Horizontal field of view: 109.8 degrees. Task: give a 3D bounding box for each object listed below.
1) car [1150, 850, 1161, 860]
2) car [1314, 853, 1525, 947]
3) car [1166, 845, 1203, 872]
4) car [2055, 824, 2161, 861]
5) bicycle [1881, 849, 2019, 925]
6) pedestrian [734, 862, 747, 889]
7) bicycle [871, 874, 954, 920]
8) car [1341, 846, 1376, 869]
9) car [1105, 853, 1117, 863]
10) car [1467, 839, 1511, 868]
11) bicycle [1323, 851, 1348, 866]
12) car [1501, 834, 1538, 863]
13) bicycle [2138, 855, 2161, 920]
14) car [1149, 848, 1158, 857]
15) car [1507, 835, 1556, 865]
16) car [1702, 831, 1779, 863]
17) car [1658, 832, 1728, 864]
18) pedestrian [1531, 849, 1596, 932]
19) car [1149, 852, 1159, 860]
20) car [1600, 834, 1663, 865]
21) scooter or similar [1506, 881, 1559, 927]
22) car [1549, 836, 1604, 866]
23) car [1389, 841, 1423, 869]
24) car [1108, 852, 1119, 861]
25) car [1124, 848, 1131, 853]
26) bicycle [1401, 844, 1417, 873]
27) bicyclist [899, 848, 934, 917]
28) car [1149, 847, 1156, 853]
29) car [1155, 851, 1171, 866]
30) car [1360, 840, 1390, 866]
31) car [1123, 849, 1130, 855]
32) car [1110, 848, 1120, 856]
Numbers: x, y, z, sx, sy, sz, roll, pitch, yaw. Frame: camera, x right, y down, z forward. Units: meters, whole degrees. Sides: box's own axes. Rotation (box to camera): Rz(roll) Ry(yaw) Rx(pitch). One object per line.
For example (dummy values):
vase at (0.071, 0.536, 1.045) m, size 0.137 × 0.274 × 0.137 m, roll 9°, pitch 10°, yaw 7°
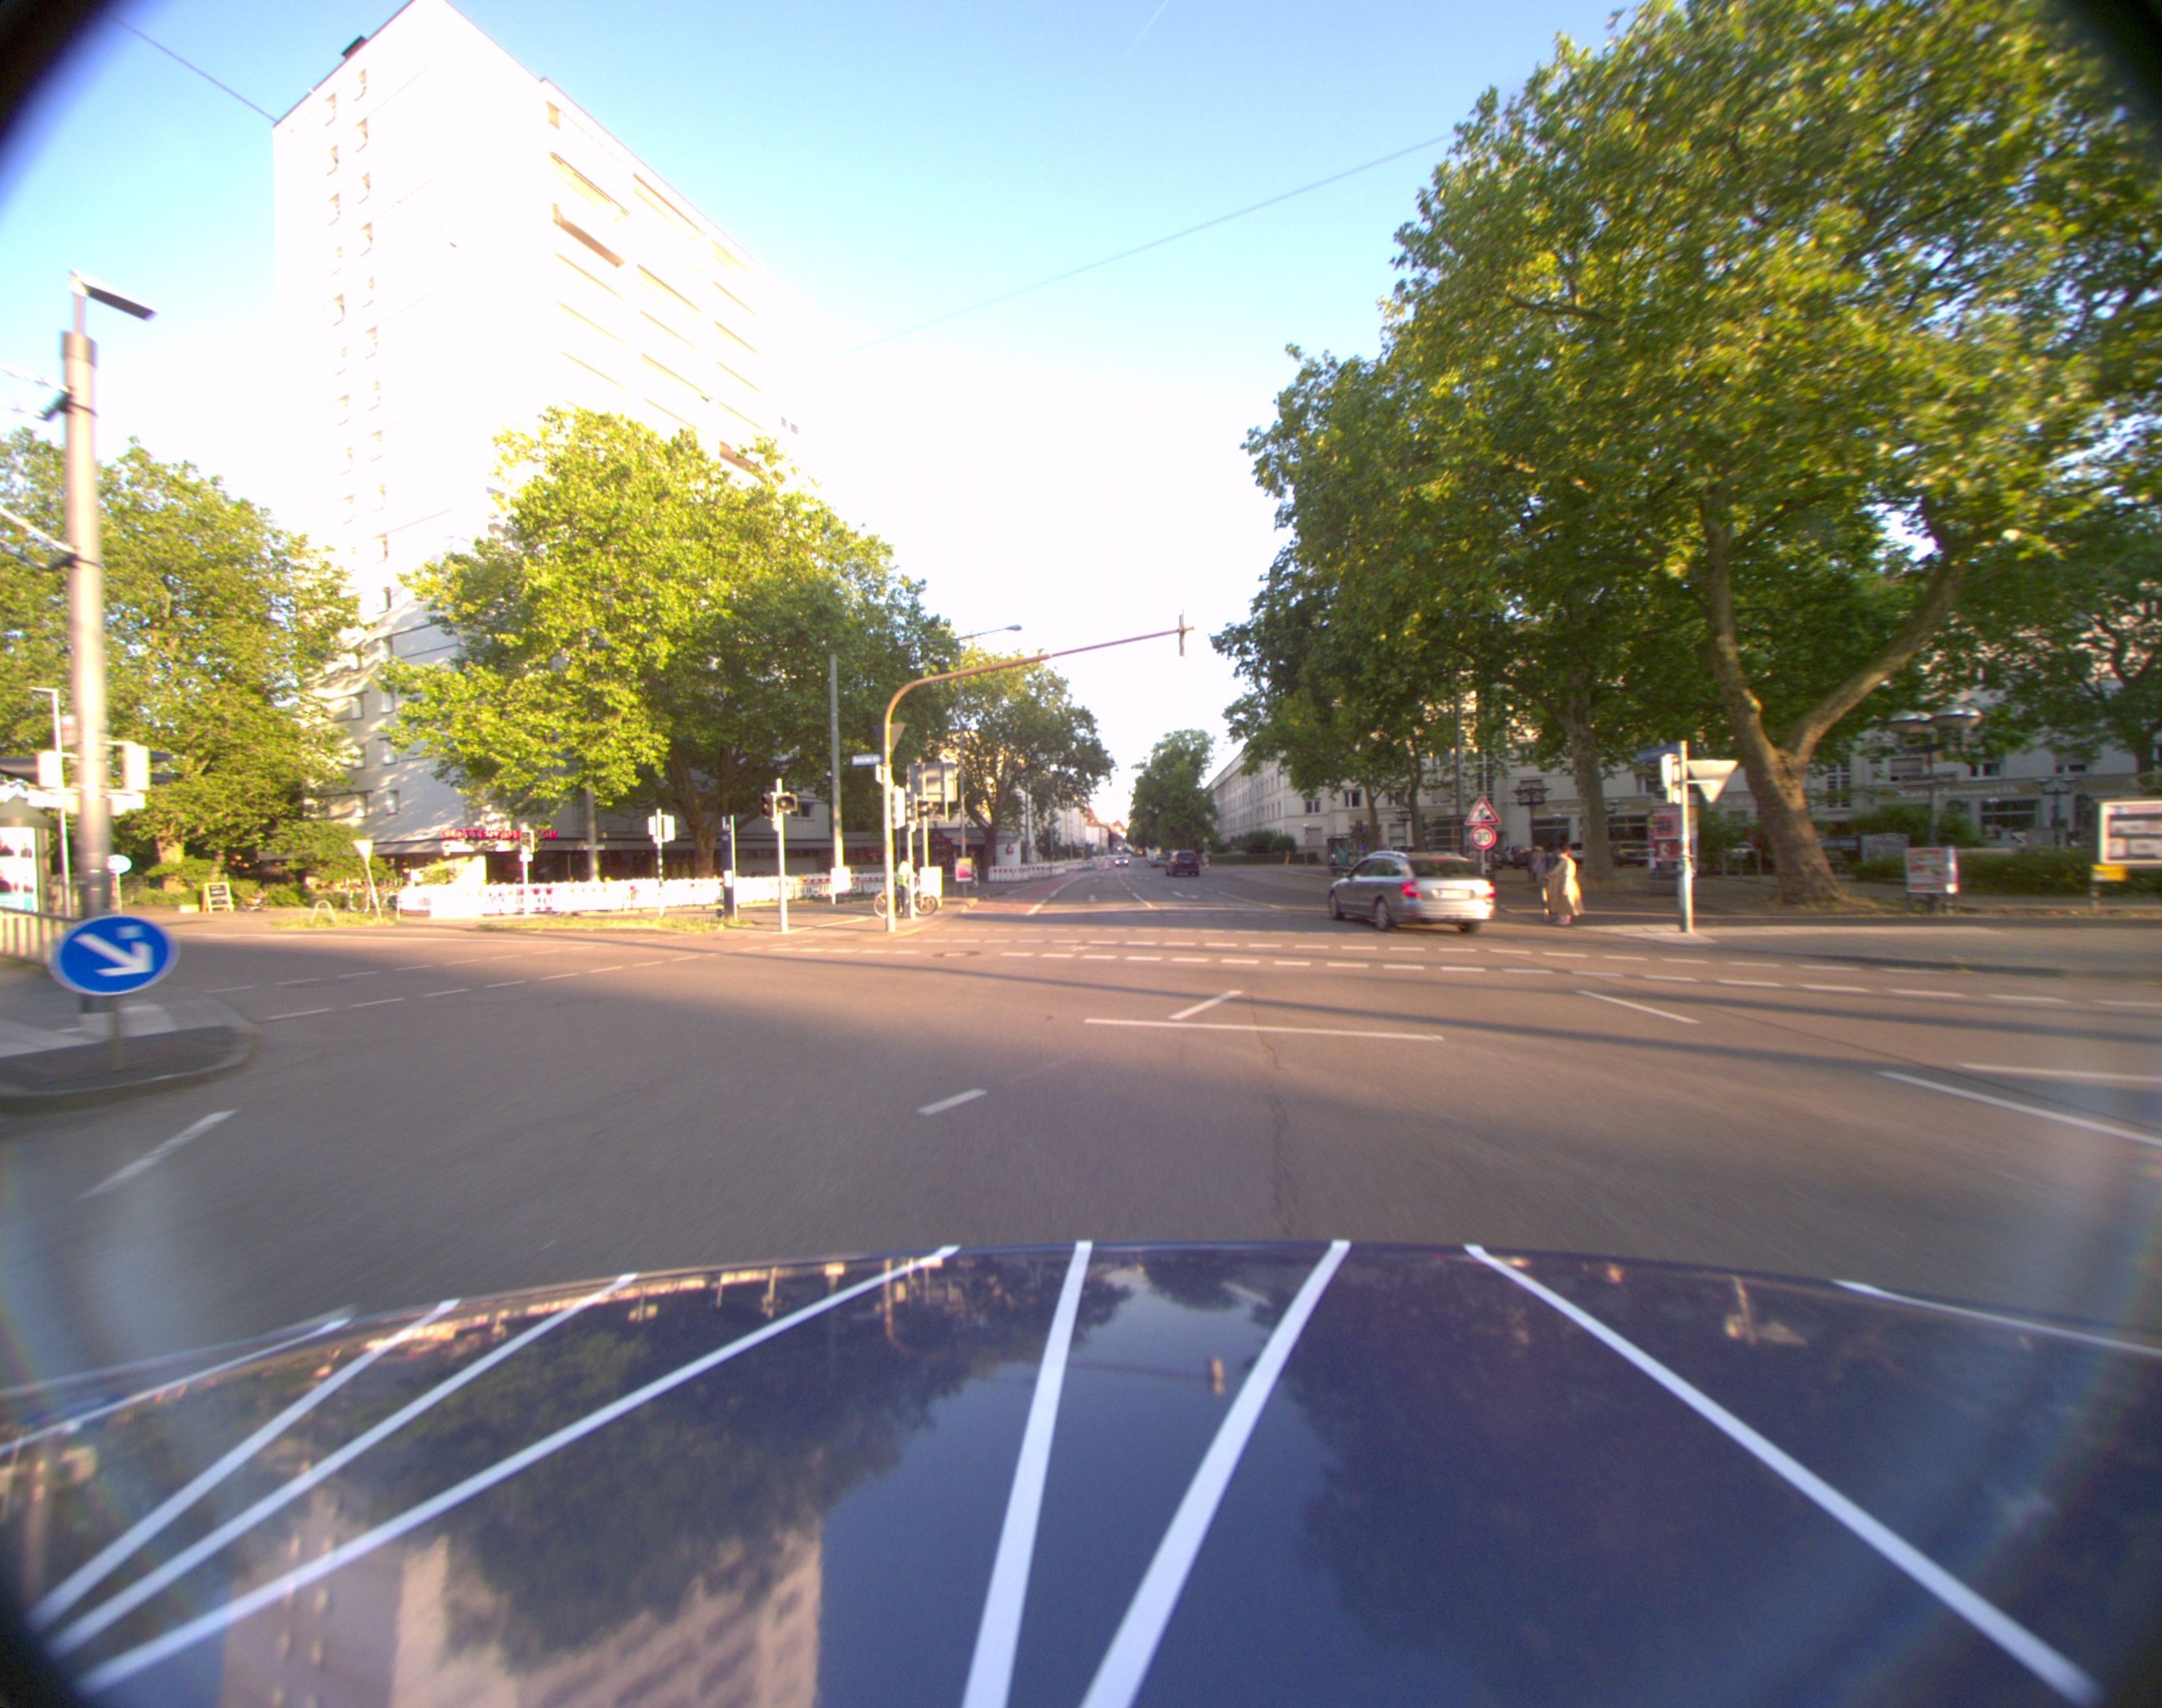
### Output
car at (14.283, 0.216, 146.053) m, size 1.892 × 1.855 × 4.260 m, roll -2°, pitch 1°, yaw 7°
car at (6.410, 0.765, 15.124) m, size 1.999 × 1.549 × 4.767 m, roll -1°, pitch 0°, yaw -1°
car at (7.341, 0.306, 54.181) m, size 1.998 × 1.774 × 4.798 m, roll -1°, pitch 0°, yaw 1°
car at (51.266, -0.531, 37.450) m, size 1.995 × 1.725 × 4.649 m, roll 0°, pitch -1°, yaw 22°
bicycle at (16.535, 0.585, 14.536) m, size 0.526 × 1.319 × 1.995 m, roll -2°, pitch 1°, yaw 7°
pedestrian at (-20.511, 1.297, 45.766) m, size 0.642 × 1.579 × 0.745 m, roll -3°, pitch 2°, yaw -23°
bicycle at (-4.599, 1.155, 20.843) m, size 2.075 × 1.103 × 0.627 m, roll -3°, pitch 1°, yaw -30°
car at (19.080, 0.269, 52.404) m, size 1.996 × 1.494 × 4.647 m, roll 0°, pitch -1°, yaw 16°
car at (5.488, 0.714, 139.053) m, size 1.892 × 1.591 × 4.260 m, roll -2°, pitch 1°, yaw 7°
car at (26.183, -0.023, 48.884) m, size 1.995 × 1.771 × 4.649 m, roll 0°, pitch -1°, yaw 22°
bicycle at (20.520, 0.362, 61.319) m, size 1.802 × 1.199 × 0.648 m, roll -2°, pitch 2°, yaw 34°
car at (32.929, -0.426, 57.178) m, size 1.995 × 1.945 × 4.647 m, roll 0°, pitch 3°, yaw 25°
bicycle at (18.779, 0.584, 12.426) m, size 0.459 × 1.086 × 1.799 m, roll -3°, pitch 1°, yaw 0°
car at (17.108, -0.395, 179.948) m, size 1.892 × 1.868 × 4.947 m, roll -2°, pitch 1°, yaw 7°
car at (28.351, -0.199, 47.962) m, size 1.995 × 1.771 × 4.649 m, roll 0°, pitch -1°, yaw 22°
car at (38.150, -0.344, 44.111) m, size 1.995 × 1.771 × 4.649 m, roll 0°, pitch -1°, yaw 22°
car at (35.852, -0.326, 44.653) m, size 1.995 × 1.771 × 4.649 m, roll 0°, pitch -1°, yaw 22°
pedestrian at (9.903, 0.722, 15.619) m, size 0.804 × 1.619 × 0.773 m, roll -3°, pitch 1°, yaw -3°
car at (15.039, 0.379, 155.713) m, size 1.892 × 1.591 × 4.260 m, roll -2°, pitch 1°, yaw 7°
car at (33.026, -0.220, 45.717) m, size 1.995 × 1.771 × 4.649 m, roll 0°, pitch -1°, yaw 22°
scooter or similar at (9.760, 1.068, 16.452) m, size 0.593 × 0.893 × 0.851 m, roll -3°, pitch 1°, yaw -4°
car at (30.565, -0.156, 46.986) m, size 1.995 × 1.771 × 4.649 m, roll 0°, pitch -1°, yaw 22°
car at (21.631, 0.073, 50.674) m, size 1.995 × 1.771 × 4.649 m, roll 0°, pitch -1°, yaw 22°
car at (6.517, 0.520, 151.313) m, size 1.892 × 1.726 × 4.260 m, roll -2°, pitch 1°, yaw 7°
car at (14.885, -1.200, 243.584) m, size 1.892 × 1.591 × 4.260 m, roll -2°, pitch 1°, yaw 7°
bicycle at (19.984, 0.250, 46.316) m, size 0.690 × 1.605 × 2.749 m, roll -2°, pitch 1°, yaw 27°
bicyclist at (-4.532, 0.771, 20.887) m, size 0.700 × 1.814 × 0.627 m, roll -3°, pitch 2°, yaw -30°
car at (19.205, -1.131, 204.090) m, size 1.892 × 1.591 × 4.260 m, roll -2°, pitch 1°, yaw 7°
car at (9.924, 0.528, 92.010) m, size 1.892 × 1.591 × 4.001 m, roll -2°, pitch 1°, yaw 7°
car at (23.726, -0.110, 61.200) m, size 1.995 × 1.945 × 4.647 m, roll 0°, pitch 3°, yaw 25°
car at (14.170, -0.658, 234.338) m, size 1.892 × 1.591 × 4.260 m, roll -2°, pitch 1°, yaw 7°
car at (7.176, -0.394, 159.826) m, size 1.892 × 1.651 × 4.260 m, roll -2°, pitch 1°, yaw 7°
